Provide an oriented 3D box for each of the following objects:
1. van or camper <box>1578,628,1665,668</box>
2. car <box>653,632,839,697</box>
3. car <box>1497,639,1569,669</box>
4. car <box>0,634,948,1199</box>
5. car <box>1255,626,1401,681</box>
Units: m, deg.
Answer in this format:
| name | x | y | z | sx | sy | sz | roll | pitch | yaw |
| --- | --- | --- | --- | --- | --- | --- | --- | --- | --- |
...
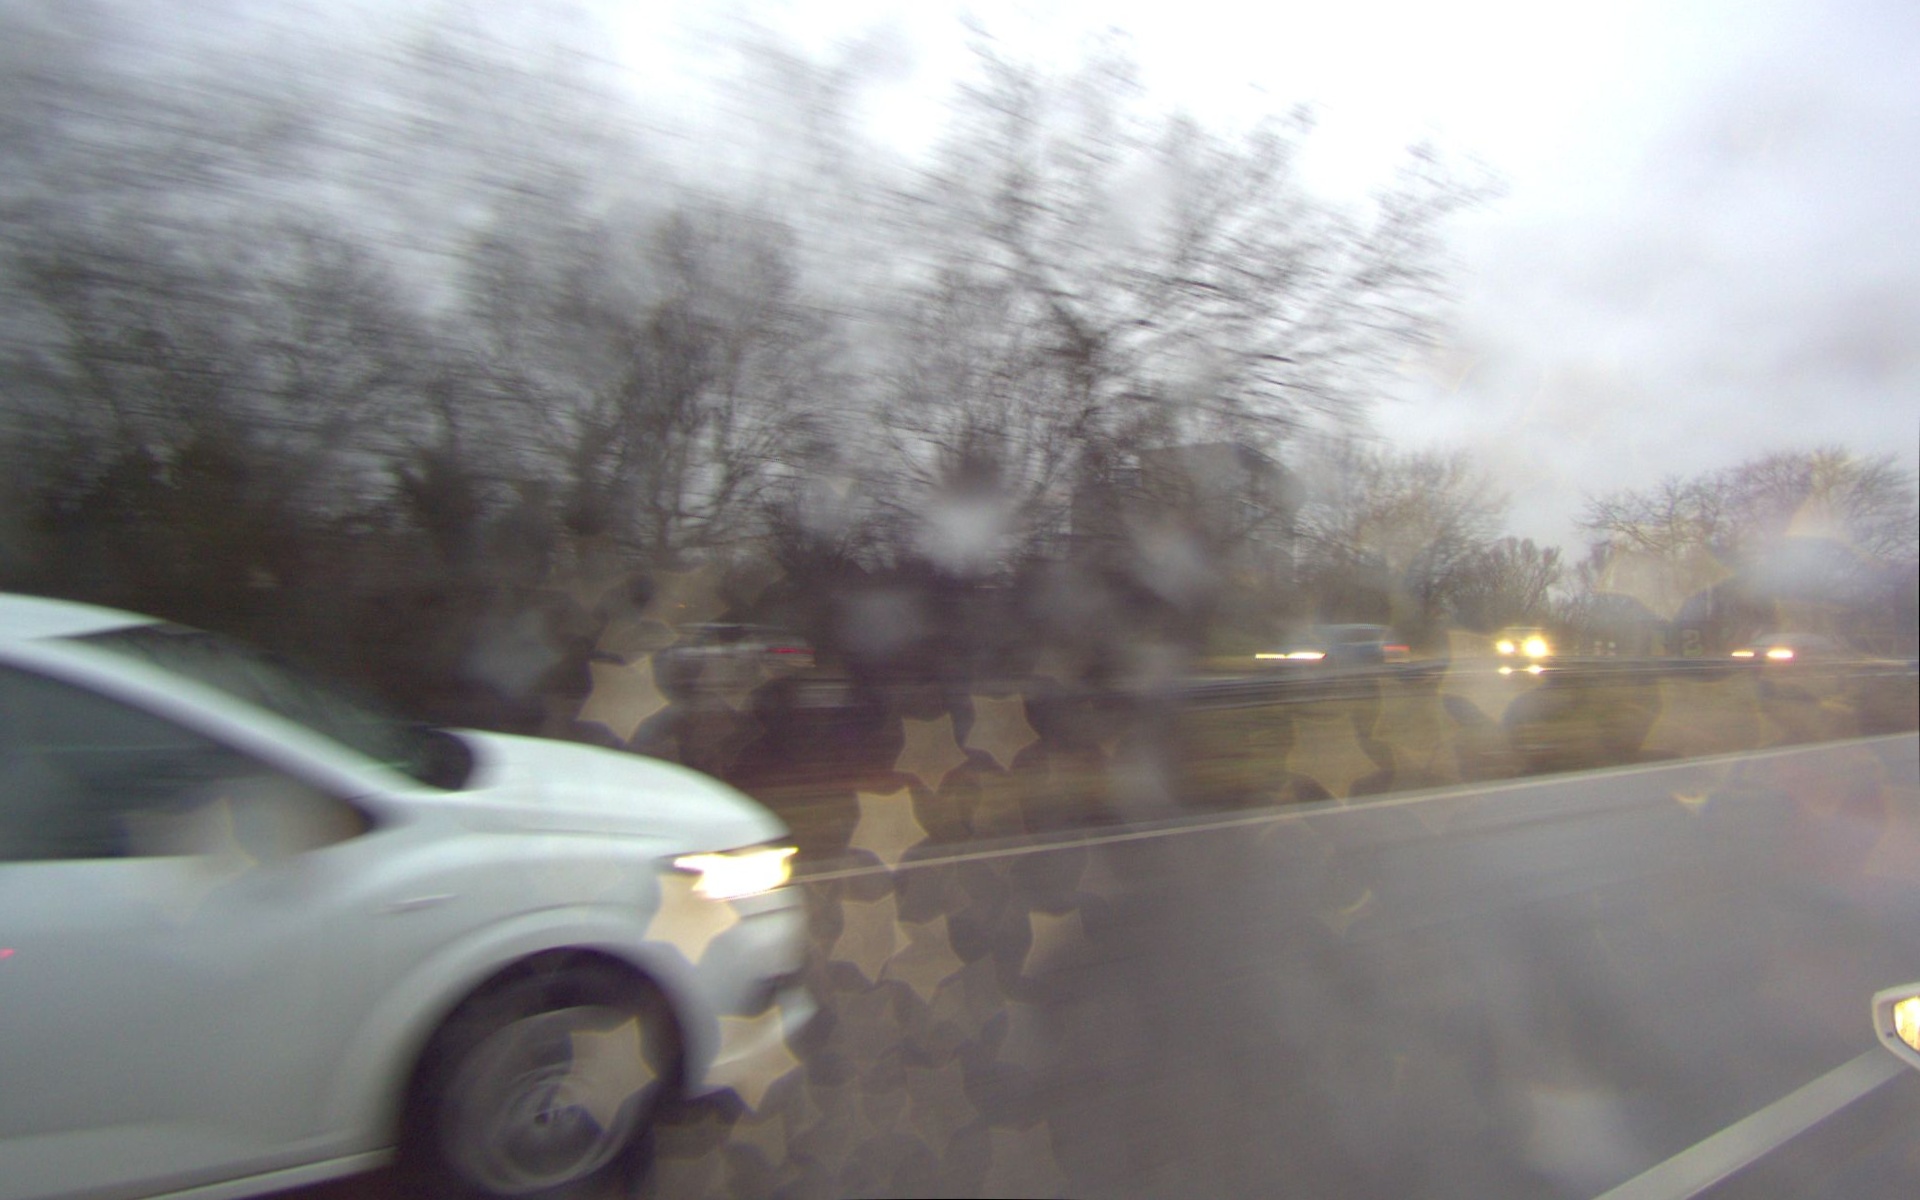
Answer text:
| name | x | y | z | sx | sy | sz | roll | pitch | yaw |
| --- | --- | --- | --- | --- | --- | --- | --- | --- | --- |
| van or camper | 30.952 | 2.248 | 46.969 | 4.156 | 1.807 | 1.642 | 2 | -2 | -29 |
| car | -4.919 | 1.475 | 23.178 | 3.908 | 1.371 | 1.642 | 2 | -2 | -29 |
| car | 32.606 | 3.063 | 57.150 | 4.636 | 1.630 | 1.772 | 2 | -2 | -35 |
| car | -2.260 | 0.822 | 2.533 | 4.173 | 1.459 | 1.717 | 1 | -2 | -29 |
| car | 11.343 | 1.645 | 30.845 | 4.541 | 1.586 | 1.642 | 2 | -2 | -29 |
